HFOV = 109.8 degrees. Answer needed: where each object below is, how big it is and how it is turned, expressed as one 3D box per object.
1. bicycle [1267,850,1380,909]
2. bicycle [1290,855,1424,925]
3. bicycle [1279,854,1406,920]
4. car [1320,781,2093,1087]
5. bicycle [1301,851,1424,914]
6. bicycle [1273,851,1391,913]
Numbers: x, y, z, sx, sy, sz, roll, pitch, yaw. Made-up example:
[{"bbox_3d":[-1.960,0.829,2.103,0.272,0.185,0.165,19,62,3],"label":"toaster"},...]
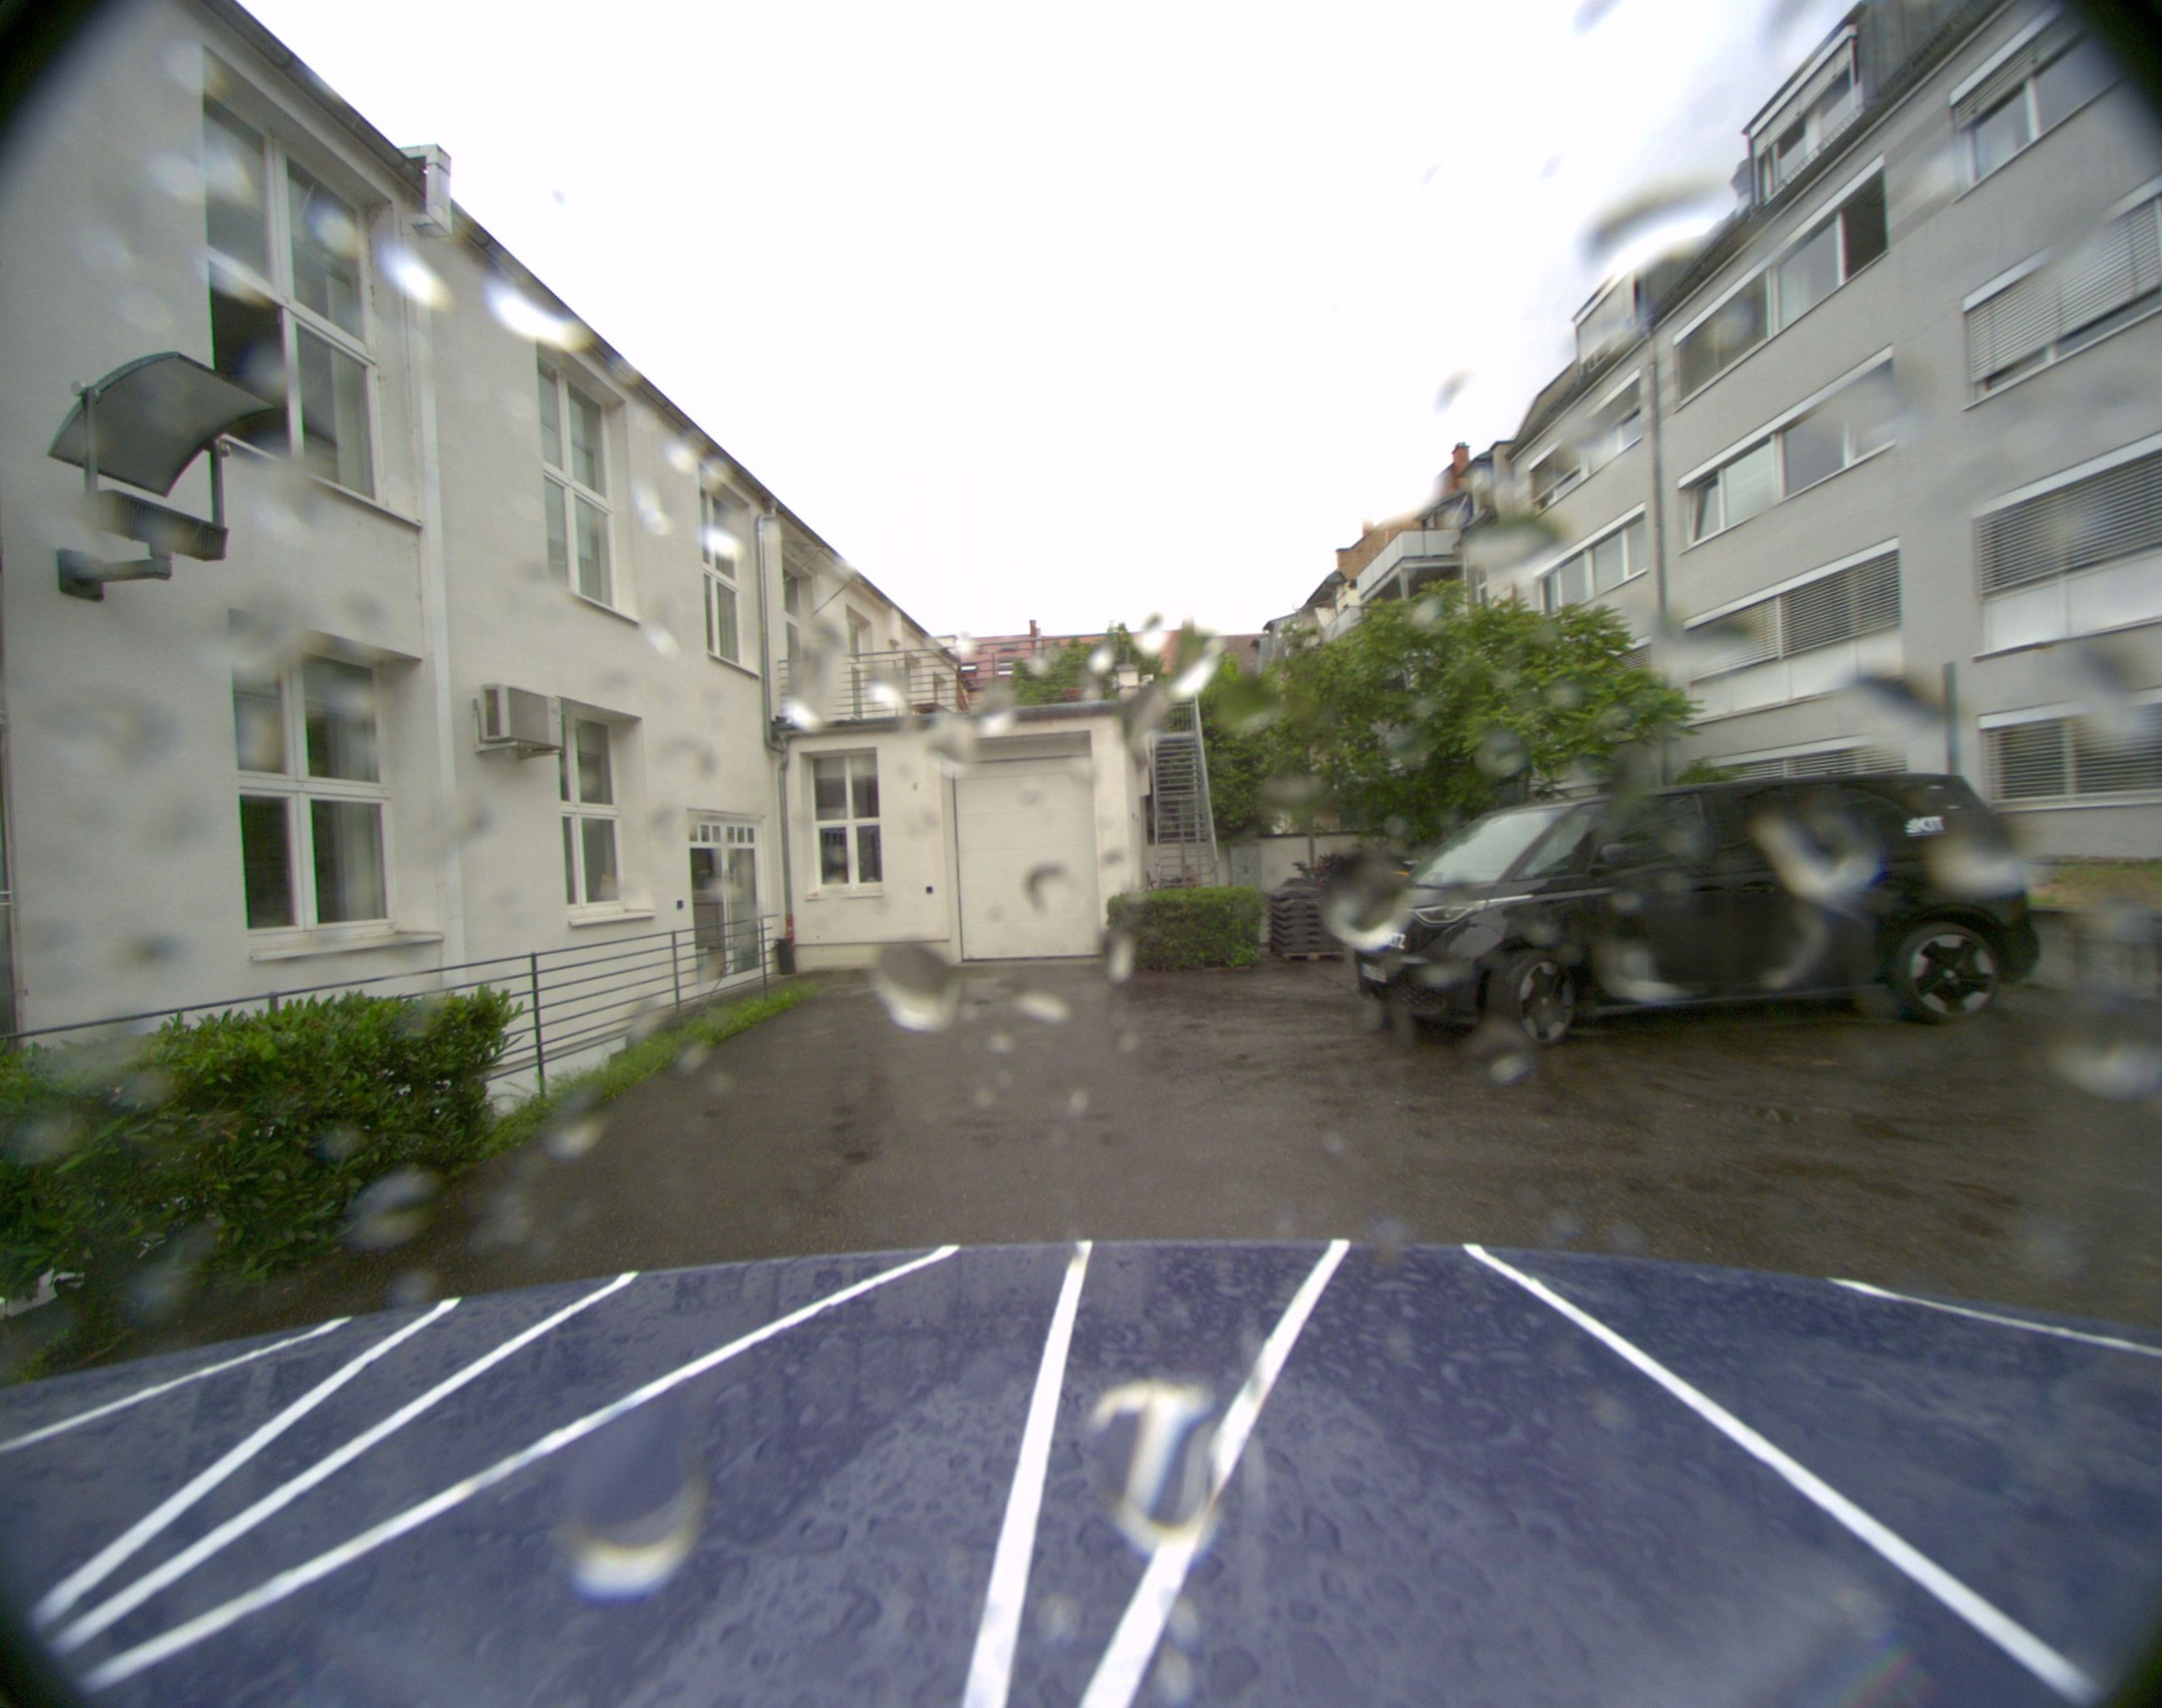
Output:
[{"bbox_3d":[5.487,0.578,17.275,2.318,1.180,0.643,-3,3,7],"label":"bicycle"},{"bbox_3d":[5.294,0.695,14.683,2.318,1.180,0.643,-3,3,7],"label":"bicycle"},{"bbox_3d":[5.302,0.662,15.485,2.318,1.180,0.643,-3,3,7],"label":"bicycle"},{"bbox_3d":[4.638,0.561,6.232,4.628,1.825,1.988,-3,-1,-1],"label":"car"},{"bbox_3d":[5.922,0.600,16.082,2.318,1.180,0.643,-3,3,7],"label":"bicycle"},{"bbox_3d":[5.466,0.605,16.641,2.318,1.180,0.643,-3,3,7],"label":"bicycle"}]
